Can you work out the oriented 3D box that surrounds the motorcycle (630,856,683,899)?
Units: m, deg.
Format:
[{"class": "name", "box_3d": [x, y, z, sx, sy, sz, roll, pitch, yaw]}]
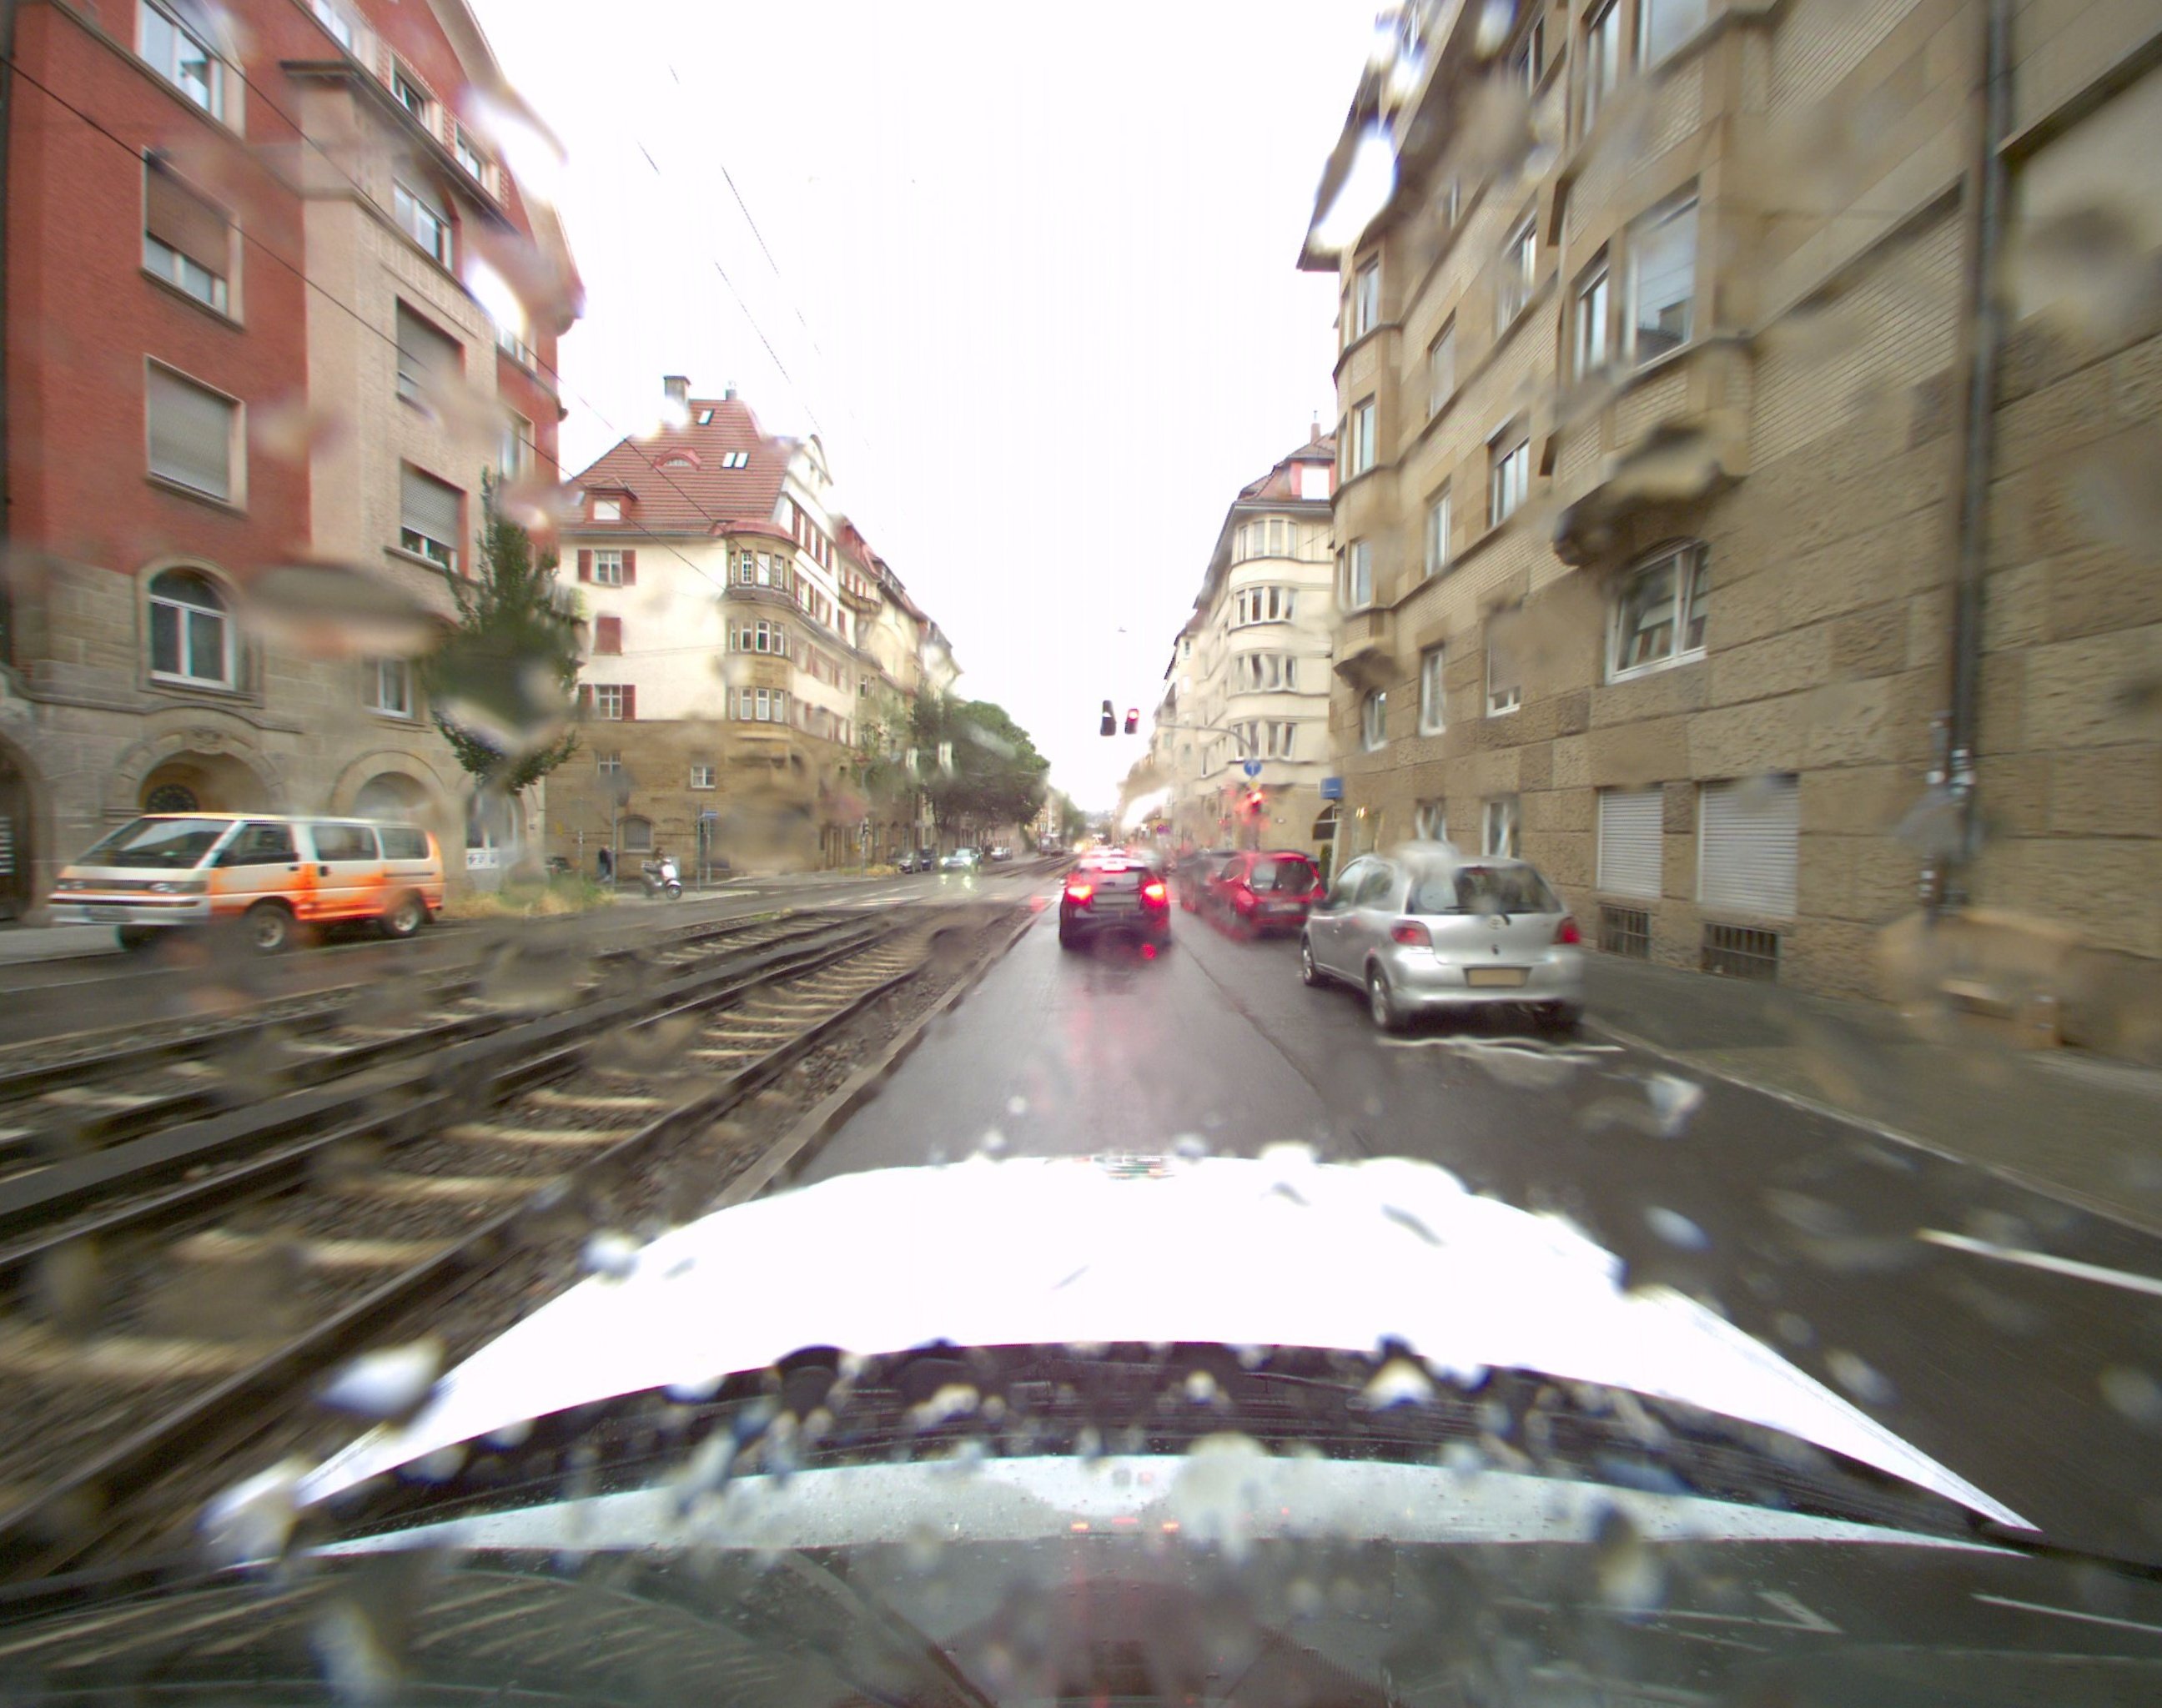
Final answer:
[{"class": "motorcycle", "box_3d": [-11.841, 0.640, 22.724, 1.423, 1.134, 0.624, 1, 0, 31]}]

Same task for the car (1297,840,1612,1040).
[{"class": "car", "box_3d": [3.376, 0.661, 8.089, 1.631, 1.543, 3.467, 1, 0, 2]}]

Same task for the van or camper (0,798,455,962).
[{"class": "van or camper", "box_3d": [-12.088, 0.312, 12.028, 1.987, 1.901, 4.698, 1, 0, 0]}]

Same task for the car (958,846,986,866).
[{"class": "car", "box_3d": [-10.287, 0.168, 77.043, 1.986, 1.794, 4.002, 1, 0, 2]}]

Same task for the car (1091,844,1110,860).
[{"class": "car", "box_3d": [2.064, -0.206, 86.163, 1.914, 1.655, 4.002, 1, 0, 2]}]

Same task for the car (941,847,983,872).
[{"class": "car", "box_3d": [-7.819, 0.342, 53.825, 1.786, 1.548, 4.006, -1, 0, 6]}]

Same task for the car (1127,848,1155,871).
[{"class": "car", "box_3d": [4.710, 0.433, 64.344, 1.764, 1.776, 3.996, 0, -1, -2]}]

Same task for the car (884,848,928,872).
[{"class": "car", "box_3d": [-10.890, 0.376, 50.983, 1.765, 1.464, 4.001, 0, -1, 2]}]

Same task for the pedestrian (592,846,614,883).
[{"class": "pedestrian", "box_3d": [-22.915, 0.507, 39.038, 0.605, 1.733, 0.643, 1, 0, 2]}]

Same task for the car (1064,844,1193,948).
[{"class": "car", "box_3d": [0.734, 0.653, 14.150, 1.939, 1.565, 3.642, 0, -1, 0]}]

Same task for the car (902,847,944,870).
[{"class": "car", "box_3d": [-10.892, 0.327, 56.308, 1.986, 1.517, 4.002, 1, 0, 2]}]

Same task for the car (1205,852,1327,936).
[{"class": "car", "box_3d": [3.384, 0.677, 15.419, 1.597, 1.419, 3.148, 1, 0, 0]}]

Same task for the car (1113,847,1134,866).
[{"class": "car", "box_3d": [3.962, 0.257, 75.957, 1.846, 1.797, 3.813, 0, -1, 2]}]

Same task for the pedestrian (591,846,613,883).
[{"class": "pedestrian", "box_3d": [-22.571, 0.504, 38.367, 0.605, 1.733, 0.643, 1, 0, 2]}]

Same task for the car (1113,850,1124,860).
[{"class": "car", "box_3d": [6.261, 0.121, 136.177, 1.902, 1.706, 4.002, 1, 0, 2]}]

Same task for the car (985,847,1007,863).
[{"class": "car", "box_3d": [-9.800, 0.120, 94.509, 1.986, 1.794, 4.002, 1, 0, 2]}]

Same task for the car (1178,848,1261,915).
[{"class": "car", "box_3d": [3.427, 0.628, 20.760, 1.543, 1.508, 4.002, 1, 0, 2]}]

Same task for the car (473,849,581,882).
[{"class": "car", "box_3d": [-24.162, 0.486, 35.581, 3.606, 1.311, 1.562, 1, 0, 2]}]

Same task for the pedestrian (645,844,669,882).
[{"class": "pedestrian", "box_3d": [-19.604, 0.421, 37.643, 0.605, 1.733, 0.865, 1, 0, 2]}]

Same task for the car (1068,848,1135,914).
[{"class": "car", "box_3d": [0.548, 0.626, 21.105, 1.530, 1.510, 4.002, 1, 0, 2]}]

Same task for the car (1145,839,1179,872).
[{"class": "car", "box_3d": [5.136, 0.125, 52.077, 1.891, 2.028, 4.177, 0, -1, 2]}]
